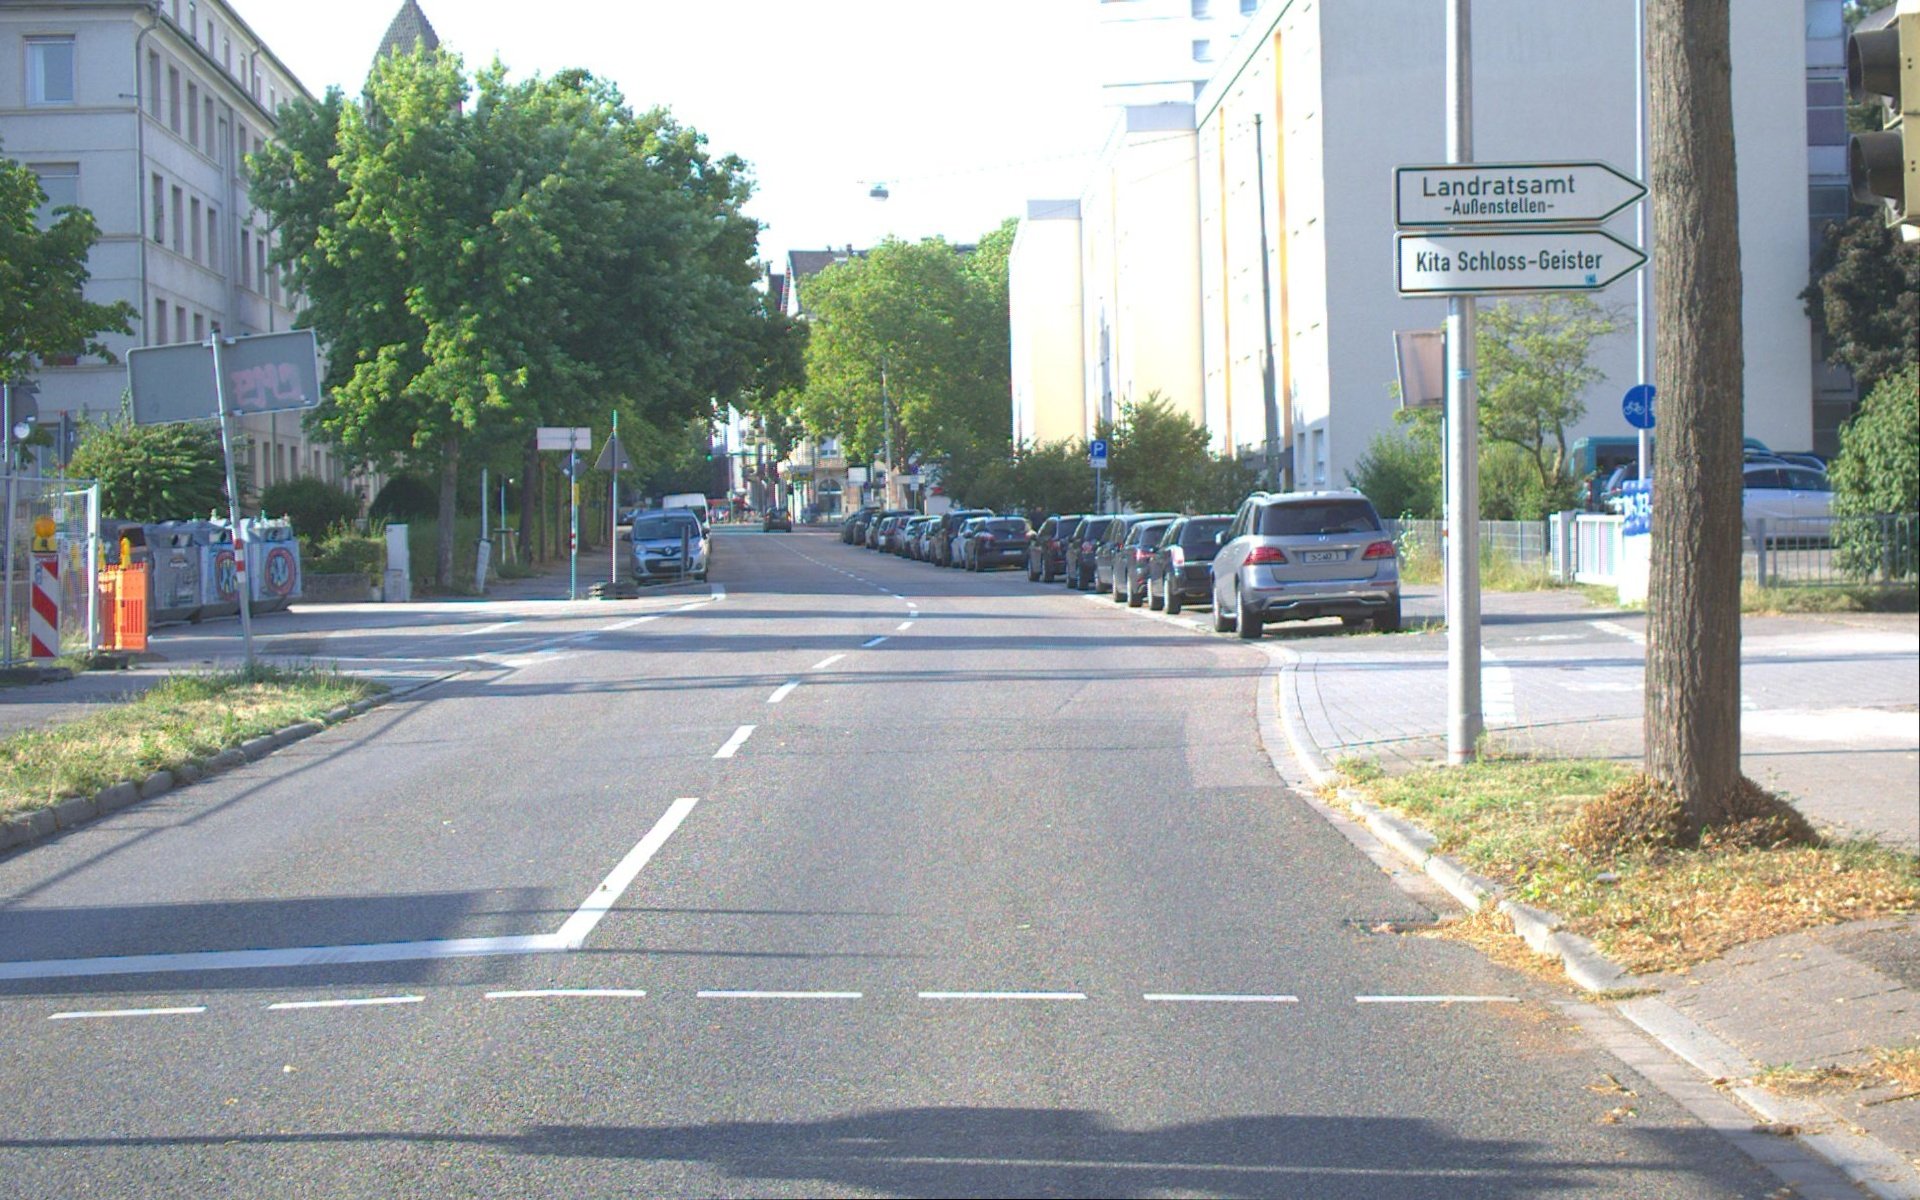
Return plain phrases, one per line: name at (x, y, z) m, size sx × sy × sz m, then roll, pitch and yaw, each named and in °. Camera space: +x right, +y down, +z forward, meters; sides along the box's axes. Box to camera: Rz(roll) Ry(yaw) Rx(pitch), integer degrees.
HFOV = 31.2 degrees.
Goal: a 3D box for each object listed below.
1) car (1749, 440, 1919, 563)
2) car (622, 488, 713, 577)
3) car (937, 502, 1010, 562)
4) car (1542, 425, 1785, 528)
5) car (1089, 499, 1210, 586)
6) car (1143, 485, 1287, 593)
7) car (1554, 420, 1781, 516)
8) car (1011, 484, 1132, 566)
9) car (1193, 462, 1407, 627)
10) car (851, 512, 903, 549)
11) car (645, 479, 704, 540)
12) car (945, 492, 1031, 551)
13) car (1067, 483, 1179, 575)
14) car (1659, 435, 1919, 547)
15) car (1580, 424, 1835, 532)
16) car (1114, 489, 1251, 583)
car at (12.600, -1.364, 48.981) m, size 1.653 × 1.656 × 4.000 m, roll 1°, pitch 1°, yaw -2°
car at (-6.923, -1.587, 81.759) m, size 1.841 × 1.890 × 4.487 m, roll 6°, pitch 0°, yaw -3°
car at (0.384, -2.069, 105.879) m, size 1.771 × 1.672 × 4.647 m, roll -4°, pitch 1°, yaw -4°
car at (12.906, -2.255, 63.210) m, size 3.986 × 1.788 × 2.000 m, roll 1°, pitch 0°, yaw -2°
car at (3.502, -1.096, 64.006) m, size 1.650 × 1.431 × 3.961 m, roll -2°, pitch 3°, yaw -5°
car at (3.932, -0.937, 53.624) m, size 1.742 × 1.535 × 4.440 m, roll -2°, pitch 1°, yaw -1°
car at (13.996, -2.605, 68.134) m, size 3.986 × 1.788 × 2.000 m, roll 1°, pitch 0°, yaw -3°
car at (2.454, -1.644, 76.789) m, size 1.886 × 1.556 × 4.947 m, roll -7°, pitch 1°, yaw -6°
car at (4.129, -0.674, 42.511) m, size 1.921 × 1.773 × 4.811 m, roll -5°, pitch 1°, yaw -1°
car at (-3.989, -3.345, 165.070) m, size 1.897 × 1.645 × 4.344 m, roll 0°, pitch 2°, yaw -10°
car at (-12.097, -3.817, 146.063) m, size 2.357 × 2.437 × 6.166 m, roll 1°, pitch 1°, yaw -4°
car at (0.744, -2.147, 94.562) m, size 1.798 × 1.502 × 4.623 m, roll -2°, pitch 1°, yaw -6°
car at (3.273, -1.419, 69.835) m, size 1.901 × 1.773 × 4.582 m, roll 1°, pitch 1°, yaw -2°
car at (14.048, -1.824, 58.044) m, size 3.986 × 1.788 × 2.000 m, roll 1°, pitch 0°, yaw -3°
car at (13.191, -2.138, 60.791) m, size 3.986 × 1.788 × 2.000 m, roll 1°, pitch 0°, yaw -3°
car at (3.781, -1.077, 59.201) m, size 1.901 × 1.524 × 4.811 m, roll 1°, pitch 1°, yaw -2°
